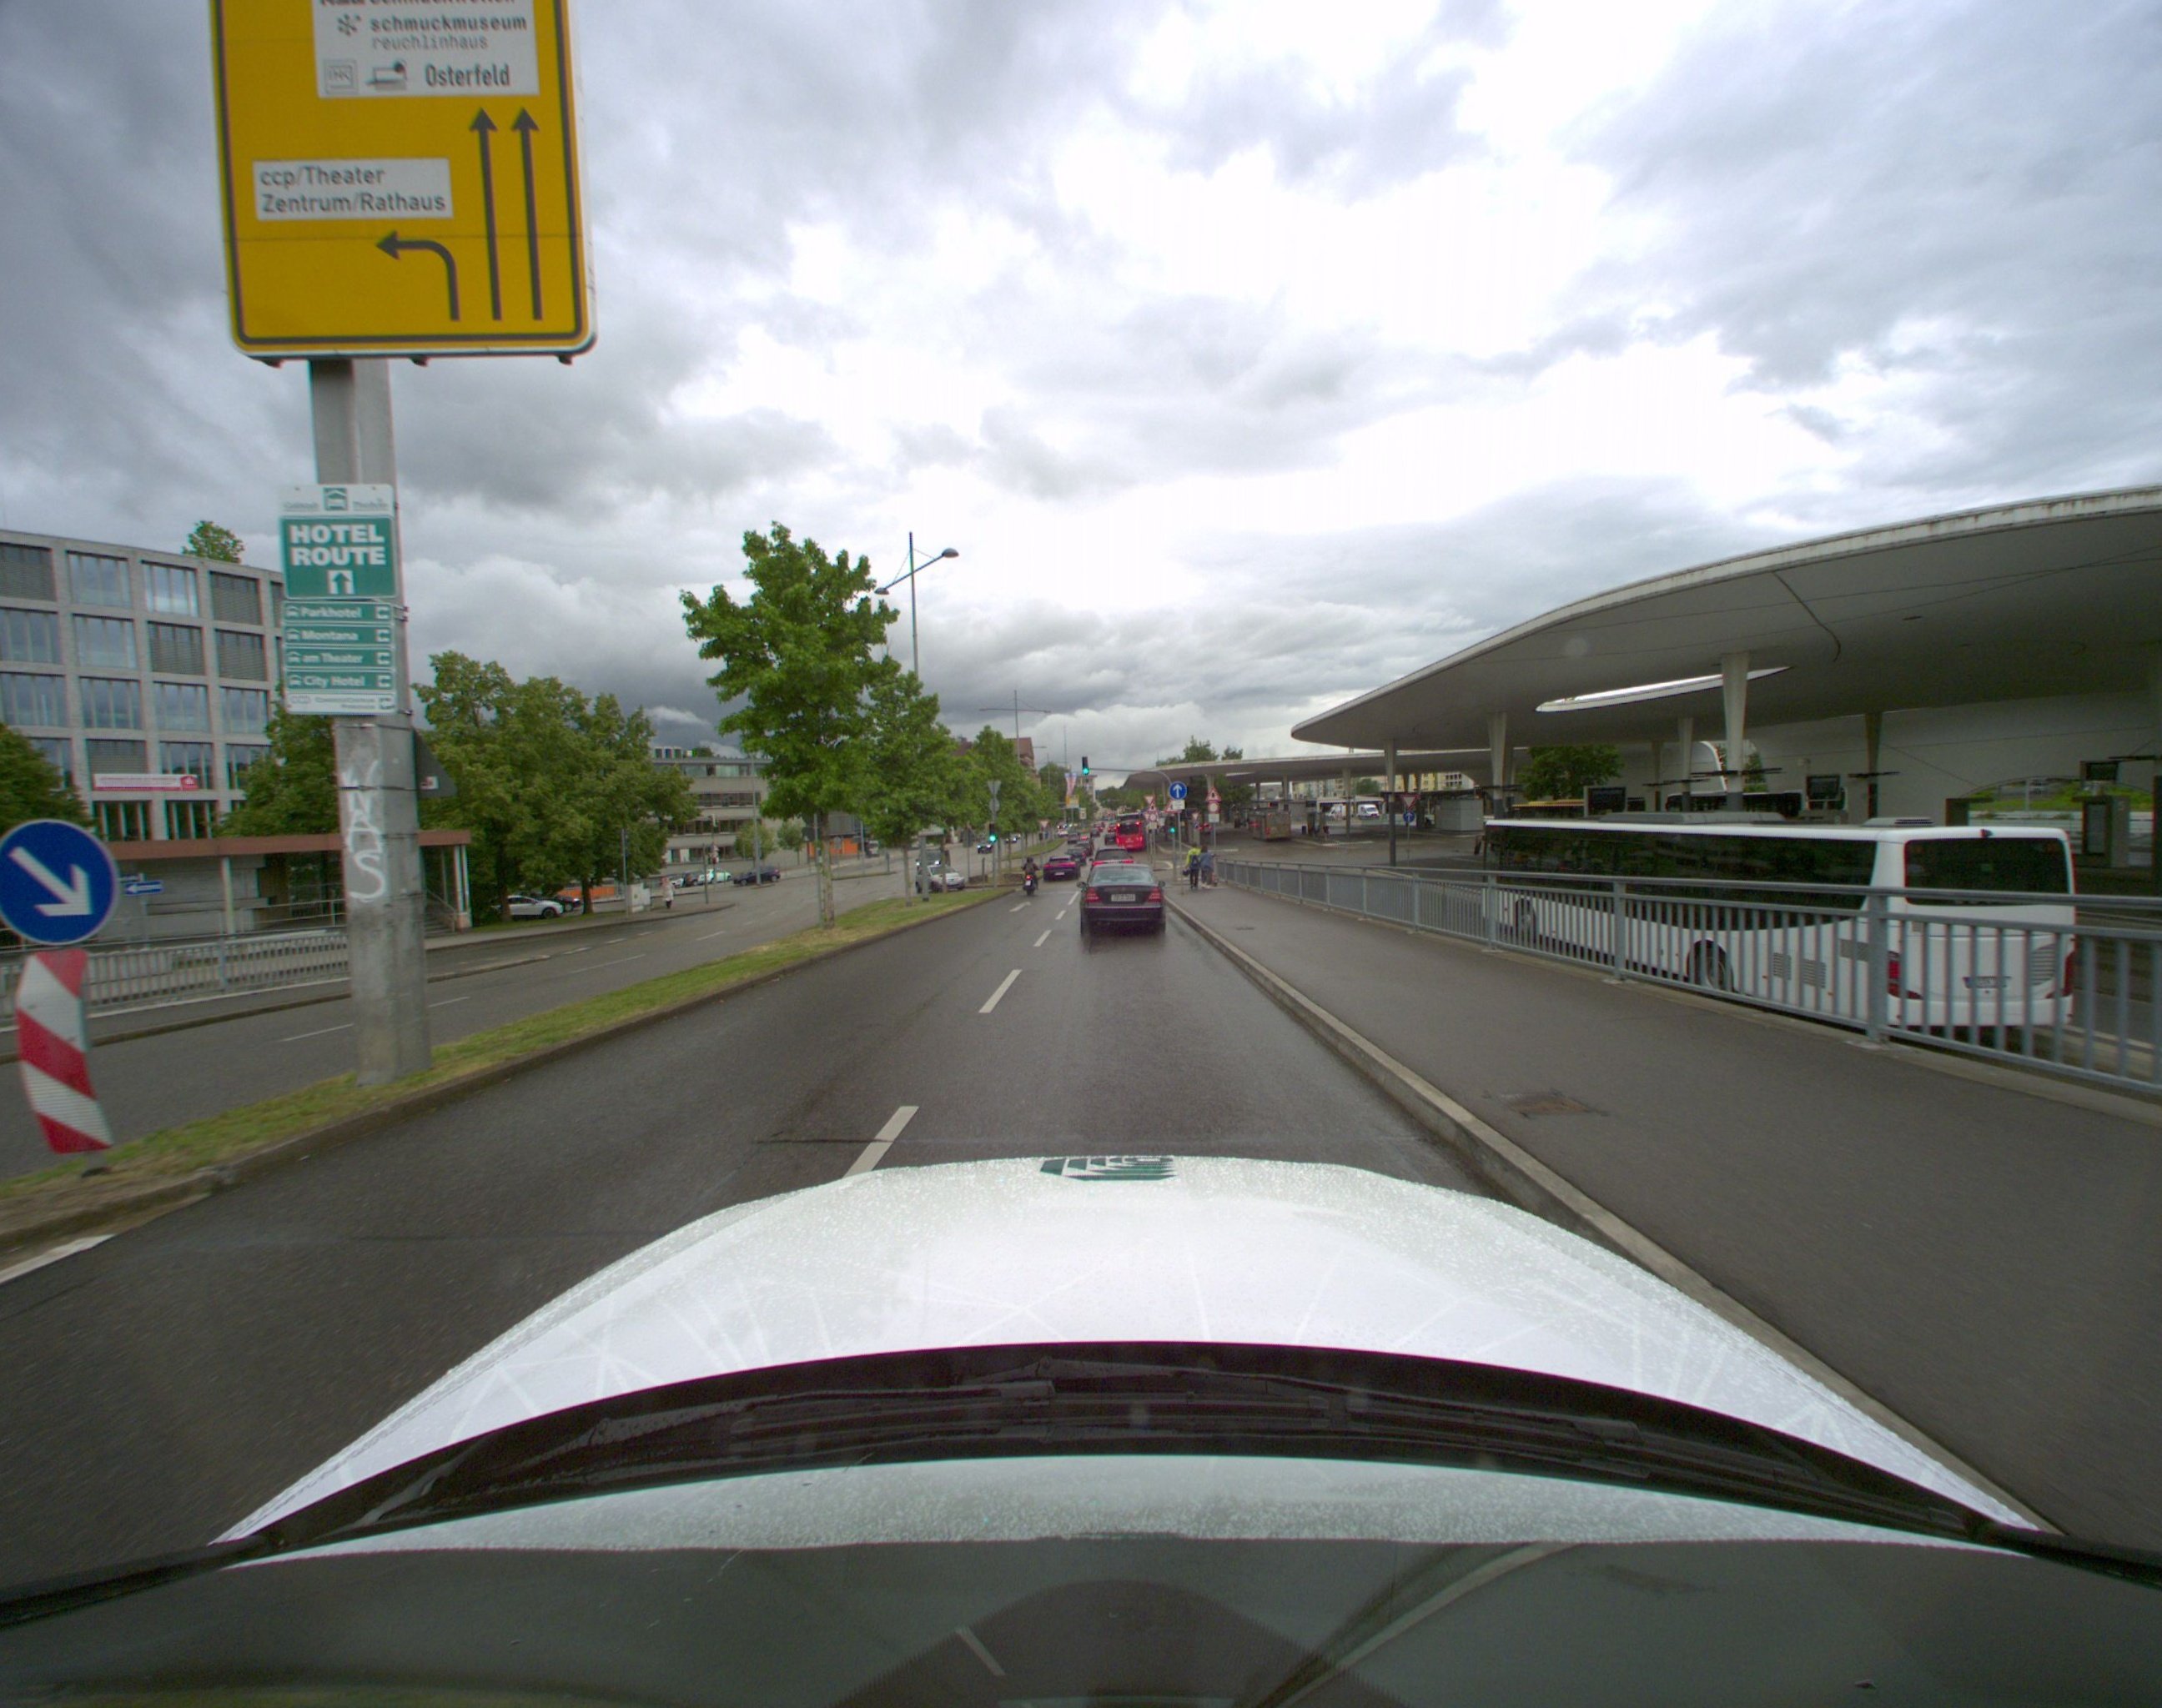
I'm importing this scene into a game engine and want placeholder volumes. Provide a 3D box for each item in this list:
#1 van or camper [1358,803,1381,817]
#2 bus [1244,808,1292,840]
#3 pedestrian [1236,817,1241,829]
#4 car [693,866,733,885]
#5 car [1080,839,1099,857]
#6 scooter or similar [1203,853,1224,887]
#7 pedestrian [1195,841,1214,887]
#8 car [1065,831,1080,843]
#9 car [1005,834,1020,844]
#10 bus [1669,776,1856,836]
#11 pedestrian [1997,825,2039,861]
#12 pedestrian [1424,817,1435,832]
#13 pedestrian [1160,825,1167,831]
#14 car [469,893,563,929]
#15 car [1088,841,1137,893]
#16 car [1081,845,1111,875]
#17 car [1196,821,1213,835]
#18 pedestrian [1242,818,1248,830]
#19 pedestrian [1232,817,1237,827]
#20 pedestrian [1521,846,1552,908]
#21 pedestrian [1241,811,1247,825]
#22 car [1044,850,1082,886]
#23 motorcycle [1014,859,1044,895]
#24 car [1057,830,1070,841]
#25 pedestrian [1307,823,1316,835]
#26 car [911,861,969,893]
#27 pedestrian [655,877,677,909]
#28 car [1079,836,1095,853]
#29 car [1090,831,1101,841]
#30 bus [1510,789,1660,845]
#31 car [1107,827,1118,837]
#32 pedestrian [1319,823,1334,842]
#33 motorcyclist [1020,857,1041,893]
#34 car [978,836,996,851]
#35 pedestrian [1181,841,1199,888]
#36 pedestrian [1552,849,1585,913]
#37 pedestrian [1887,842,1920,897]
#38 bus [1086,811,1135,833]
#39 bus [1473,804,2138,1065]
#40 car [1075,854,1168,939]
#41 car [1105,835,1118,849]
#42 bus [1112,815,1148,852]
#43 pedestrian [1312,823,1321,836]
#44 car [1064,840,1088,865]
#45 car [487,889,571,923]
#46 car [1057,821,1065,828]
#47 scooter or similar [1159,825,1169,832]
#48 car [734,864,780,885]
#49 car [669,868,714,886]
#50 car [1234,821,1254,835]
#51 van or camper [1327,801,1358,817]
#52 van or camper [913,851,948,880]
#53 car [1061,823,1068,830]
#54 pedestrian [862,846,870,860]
[{"bbox_3d":[47.238,-7.209,133.372,1.986,2.102,5.483,-1,1,2],"label":"van or camper"},{"bbox_3d":[20.246,-3.333,88.773,2.711,3.042,12.099,-4,3,2],"label":"bus"},{"bbox_3d":[24.119,-4.738,124.537,0.573,1.716,0.565,0,-1,37],"label":"pedestrian"},{"bbox_3d":[-36.730,2.099,81.380,1.615,1.495,3.600,-3,3,17],"label":"car"},{"bbox_3d":[0.863,-0.601,81.910,1.569,1.504,3.875,-6,3,3],"label":"car"},{"bbox_3d":[5.061,0.596,31.151,0.462,1.221,1.860,-4,-1,2],"label":"scooter or similar"},{"bbox_3d":[4.524,0.358,29.885,0.587,1.670,0.580,-1,-2,1],"label":"pedestrian"},{"bbox_3d":[-1.209,-2.427,116.780,1.859,1.684,4.002,0,0,2],"label":"car"},{"bbox_3d":[-11.883,-2.569,142.274,1.839,1.504,4.925,-3,2,3],"label":"car"},{"bbox_3d":[43.612,-3.118,52.959,2.456,3.256,11.981,-4,3,2],"label":"bus"},{"bbox_3d":[35.280,-0.398,30.675,0.705,1.325,0.803,0,-1,9],"label":"pedestrian"},{"bbox_3d":[37.513,-3.180,87.667,0.793,1.586,0.907,-2,2,-4],"label":"pedestrian"},{"bbox_3d":[12.674,-3.983,124.705,0.906,0.985,0.636,-2,-1,16],"label":"pedestrian"},{"bbox_3d":[-32.390,3.237,46.766,1.706,1.508,4.082,-2,3,43],"label":"car"},{"bbox_3d":[1.480,0.525,37.804,1.950,1.875,4.878,-6,3,2],"label":"car"},{"bbox_3d":[1.043,0.380,54.622,1.734,1.566,3.874,-6,3,2],"label":"car"},{"bbox_3d":[17.234,-3.642,113.631,1.705,1.661,4.242,-3,3,1],"label":"car"},{"bbox_3d":[22.999,-4.183,114.182,0.559,1.691,0.613,-3,3,-5],"label":"pedestrian"},{"bbox_3d":[23.448,-4.886,124.625,0.573,1.578,0.565,0,-1,32],"label":"pedestrian"},{"bbox_3d":[14.390,0.712,25.730,0.589,1.886,0.642,-4,4,-34],"label":"pedestrian"},{"bbox_3d":[24.260,-5.312,120.999,0.716,2.014,0.674,0,-1,28],"label":"pedestrian"},{"bbox_3d":[-0.984,0.760,46.828,1.809,1.570,4.408,-6,3,2],"label":"car"},{"bbox_3d":[-2.087,0.913,33.036,0.789,1.261,1.858,-5,3,6],"label":"motorcycle"},{"bbox_3d":[-3.137,-3.292,147.188,1.643,1.804,3.624,0,-1,-12],"label":"car"},{"bbox_3d":[24.902,-2.713,88.072,0.786,1.226,0.637,-3,3,19],"label":"pedestrian"},{"bbox_3d":[-7.513,1.197,43.204,1.643,1.448,3.837,-6,2,-32],"label":"car"},{"bbox_3d":[-21.362,2.005,41.889,0.648,1.570,0.632,-5,0,7],"label":"pedestrian"},{"bbox_3d":[0.737,-1.090,93.168,1.569,1.566,3.874,-6,3,2],"label":"car"},{"bbox_3d":[2.439,-3.017,136.401,1.859,1.684,4.002,0,0,2],"label":"car"},{"bbox_3d":[33.809,-2.620,55.547,2.779,3.256,12.145,-3,3,1],"label":"bus"},{"bbox_3d":[5.650,-4.004,146.130,1.859,1.684,4.002,0,0,2],"label":"car"},{"bbox_3d":[22.512,-1.989,74.803,0.721,1.683,1.013,-6,3,-24],"label":"pedestrian"},{"bbox_3d":[-2.033,0.852,33.107,0.638,1.347,0.690,-4,3,5],"label":"motorcyclist"},{"bbox_3d":[-12.760,-1.448,110.320,1.903,1.661,4.857,-3,4,-1],"label":"car"},{"bbox_3d":[3.997,0.389,29.916,0.520,1.670,0.581,-2,0,1],"label":"pedestrian"},{"bbox_3d":[15.071,0.820,25.155,0.588,1.903,0.642,-4,3,-31],"label":"pedestrian"},{"bbox_3d":[25.705,0.479,25.452,0.646,1.654,0.632,-6,3,-38],"label":"pedestrian"},{"bbox_3d":[5.910,-6.435,165.958,2.861,3.986,11.731,-5,3,-37],"label":"bus"},{"bbox_3d":[12.363,0.675,16.791,2.834,3.360,12.436,0,4,2],"label":"bus"},{"bbox_3d":[0.824,0.798,17.328,1.691,1.462,4.306,-2,1,2],"label":"car"},{"bbox_3d":[3.990,-1.599,105.975,1.569,1.566,3.874,-6,3,2],"label":"car"},{"bbox_3d":[5.124,-2.272,85.905,3.273,3.290,10.889,-4,3,3],"label":"bus"},{"bbox_3d":[24.804,-2.592,85.865,0.786,1.377,0.637,-3,3,19],"label":"pedestrian"},{"bbox_3d":[-0.372,-0.133,65.944,1.670,1.622,3.874,-6,3,2],"label":"car"},{"bbox_3d":[-33.536,3.092,49.511,1.706,1.567,3.862,-1,3,44],"label":"car"},{"bbox_3d":[-5.237,-7.616,211.929,1.773,1.566,3.433,-6,3,2],"label":"car"},{"bbox_3d":[12.730,-3.961,124.757,1.233,1.012,0.767,-3,2,16],"label":"scooter or similar"},{"bbox_3d":[-29.490,1.861,74.089,3.680,1.438,1.815,-7,4,-25],"label":"car"},{"bbox_3d":[-40.652,2.393,85.055,1.743,1.495,3.813,-2,3,40],"label":"car"},{"bbox_3d":[18.810,-3.000,94.135,1.641,1.452,3.238,-4,3,0],"label":"car"},{"bbox_3d":[44.930,-7.724,139.870,4.591,2.557,2.119,-1,1,0],"label":"van or camper"},{"bbox_3d":[-12.117,0.899,65.725,2.214,2.072,5.271,-5,0,-6],"label":"van or camper"},{"bbox_3d":[-4.362,-7.347,217.767,1.569,1.566,3.433,-6,3,2],"label":"car"},{"bbox_3d":[-27.515,-0.128,104.209,0.471,1.683,0.765,-4,3,9],"label":"pedestrian"}]
